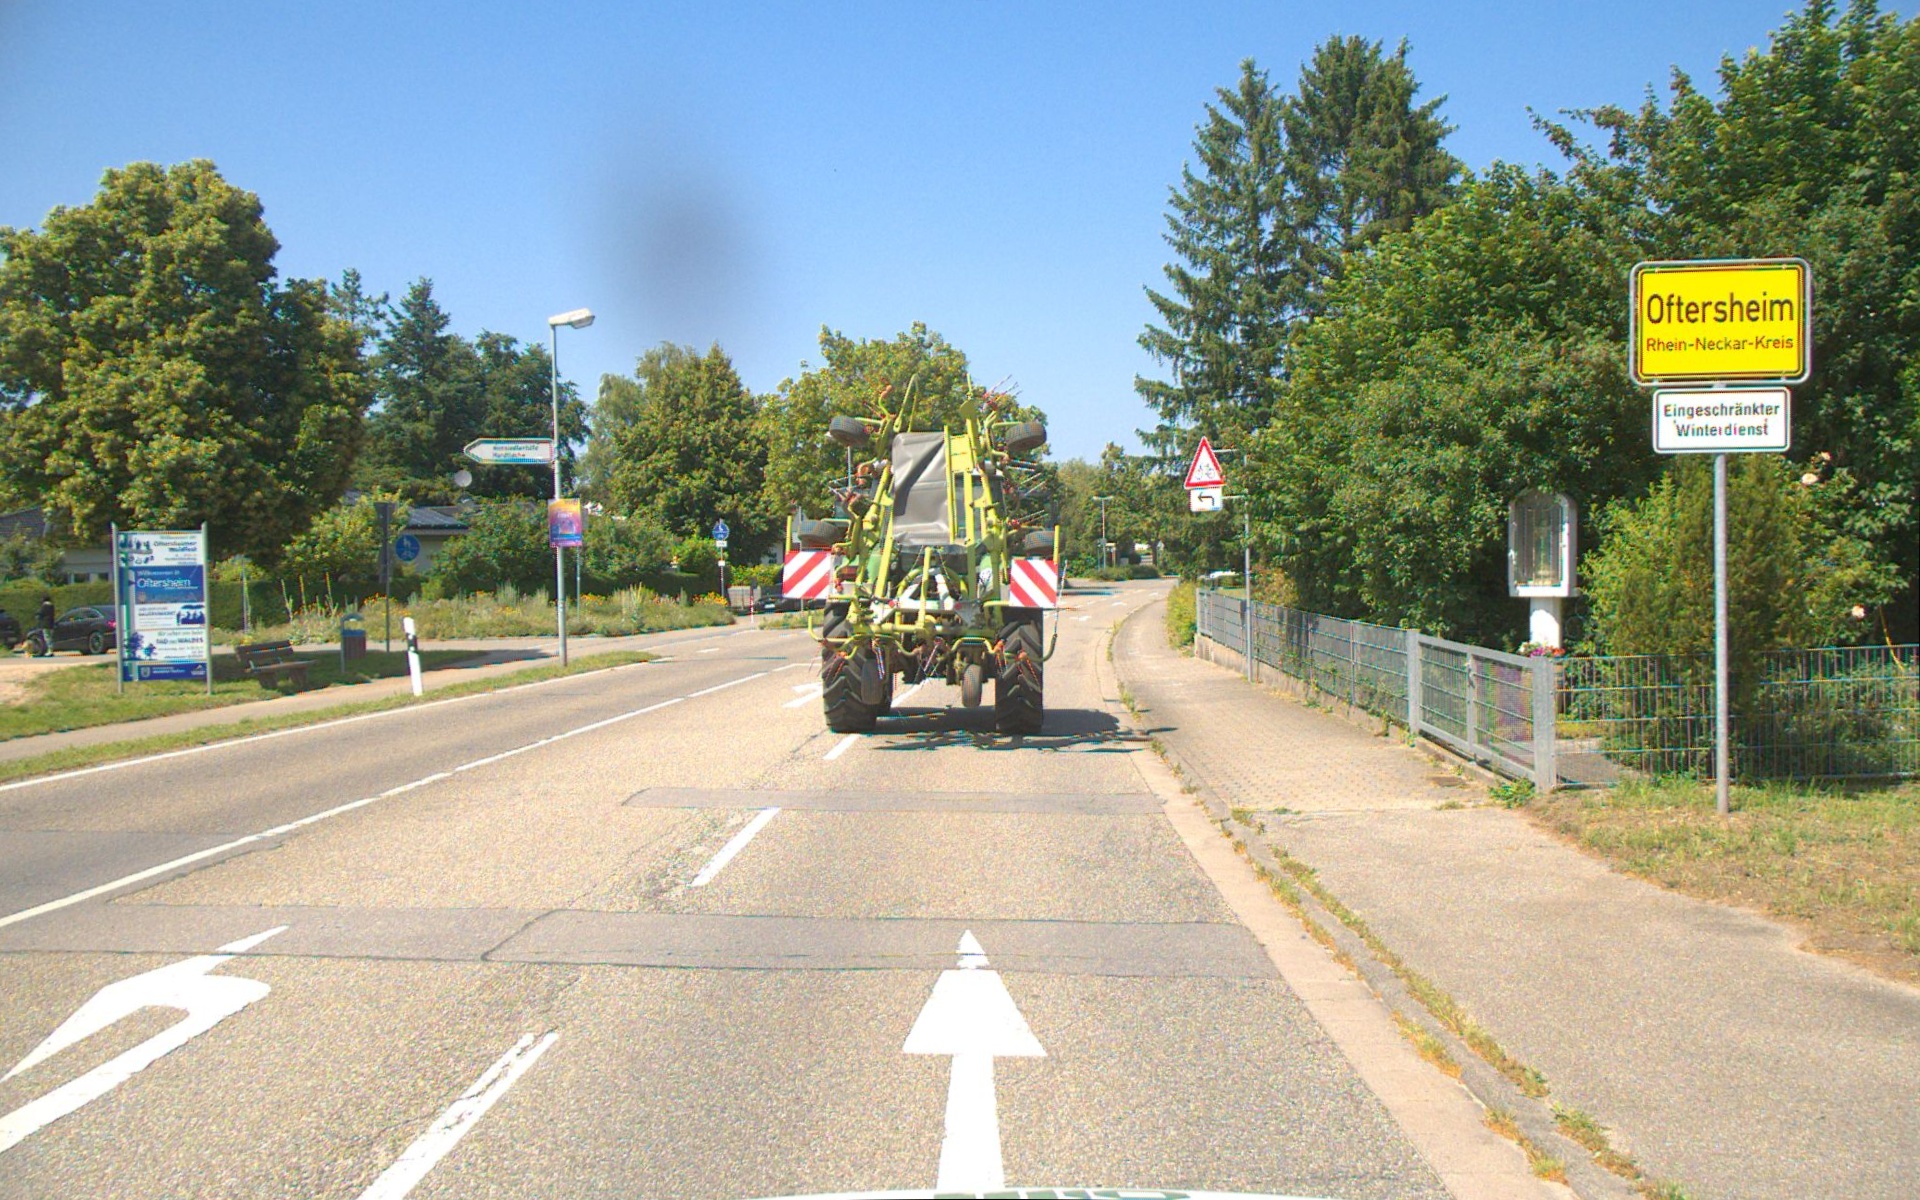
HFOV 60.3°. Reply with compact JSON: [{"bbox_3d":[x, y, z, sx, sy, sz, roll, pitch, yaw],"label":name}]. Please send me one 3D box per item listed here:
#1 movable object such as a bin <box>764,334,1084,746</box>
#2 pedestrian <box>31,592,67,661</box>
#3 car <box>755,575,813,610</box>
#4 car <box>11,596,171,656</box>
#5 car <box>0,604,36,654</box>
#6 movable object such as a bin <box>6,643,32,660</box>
[{"bbox_3d":[-0.174,-0.595,19.446,2.794,3.603,9.703,-1,1,2],"label":"movable object such as a bin"},{"bbox_3d":[-23.546,0.677,42.772,0.662,1.746,0.549,0,1,33],"label":"pedestrian"},{"bbox_3d":[-8.359,-0.375,78.726,1.652,1.556,4.004,0,1,11],"label":"car"},{"bbox_3d":[-25.082,0.747,47.738,4.005,1.545,1.999,-2,1,24],"label":"car"},{"bbox_3d":[-33.504,1.042,55.487,3.904,1.545,1.883,-2,2,3],"label":"car"},{"bbox_3d":[-23.940,1.308,42.071,0.749,0.417,0.319,0,1,37],"label":"movable object such as a bin"}]
